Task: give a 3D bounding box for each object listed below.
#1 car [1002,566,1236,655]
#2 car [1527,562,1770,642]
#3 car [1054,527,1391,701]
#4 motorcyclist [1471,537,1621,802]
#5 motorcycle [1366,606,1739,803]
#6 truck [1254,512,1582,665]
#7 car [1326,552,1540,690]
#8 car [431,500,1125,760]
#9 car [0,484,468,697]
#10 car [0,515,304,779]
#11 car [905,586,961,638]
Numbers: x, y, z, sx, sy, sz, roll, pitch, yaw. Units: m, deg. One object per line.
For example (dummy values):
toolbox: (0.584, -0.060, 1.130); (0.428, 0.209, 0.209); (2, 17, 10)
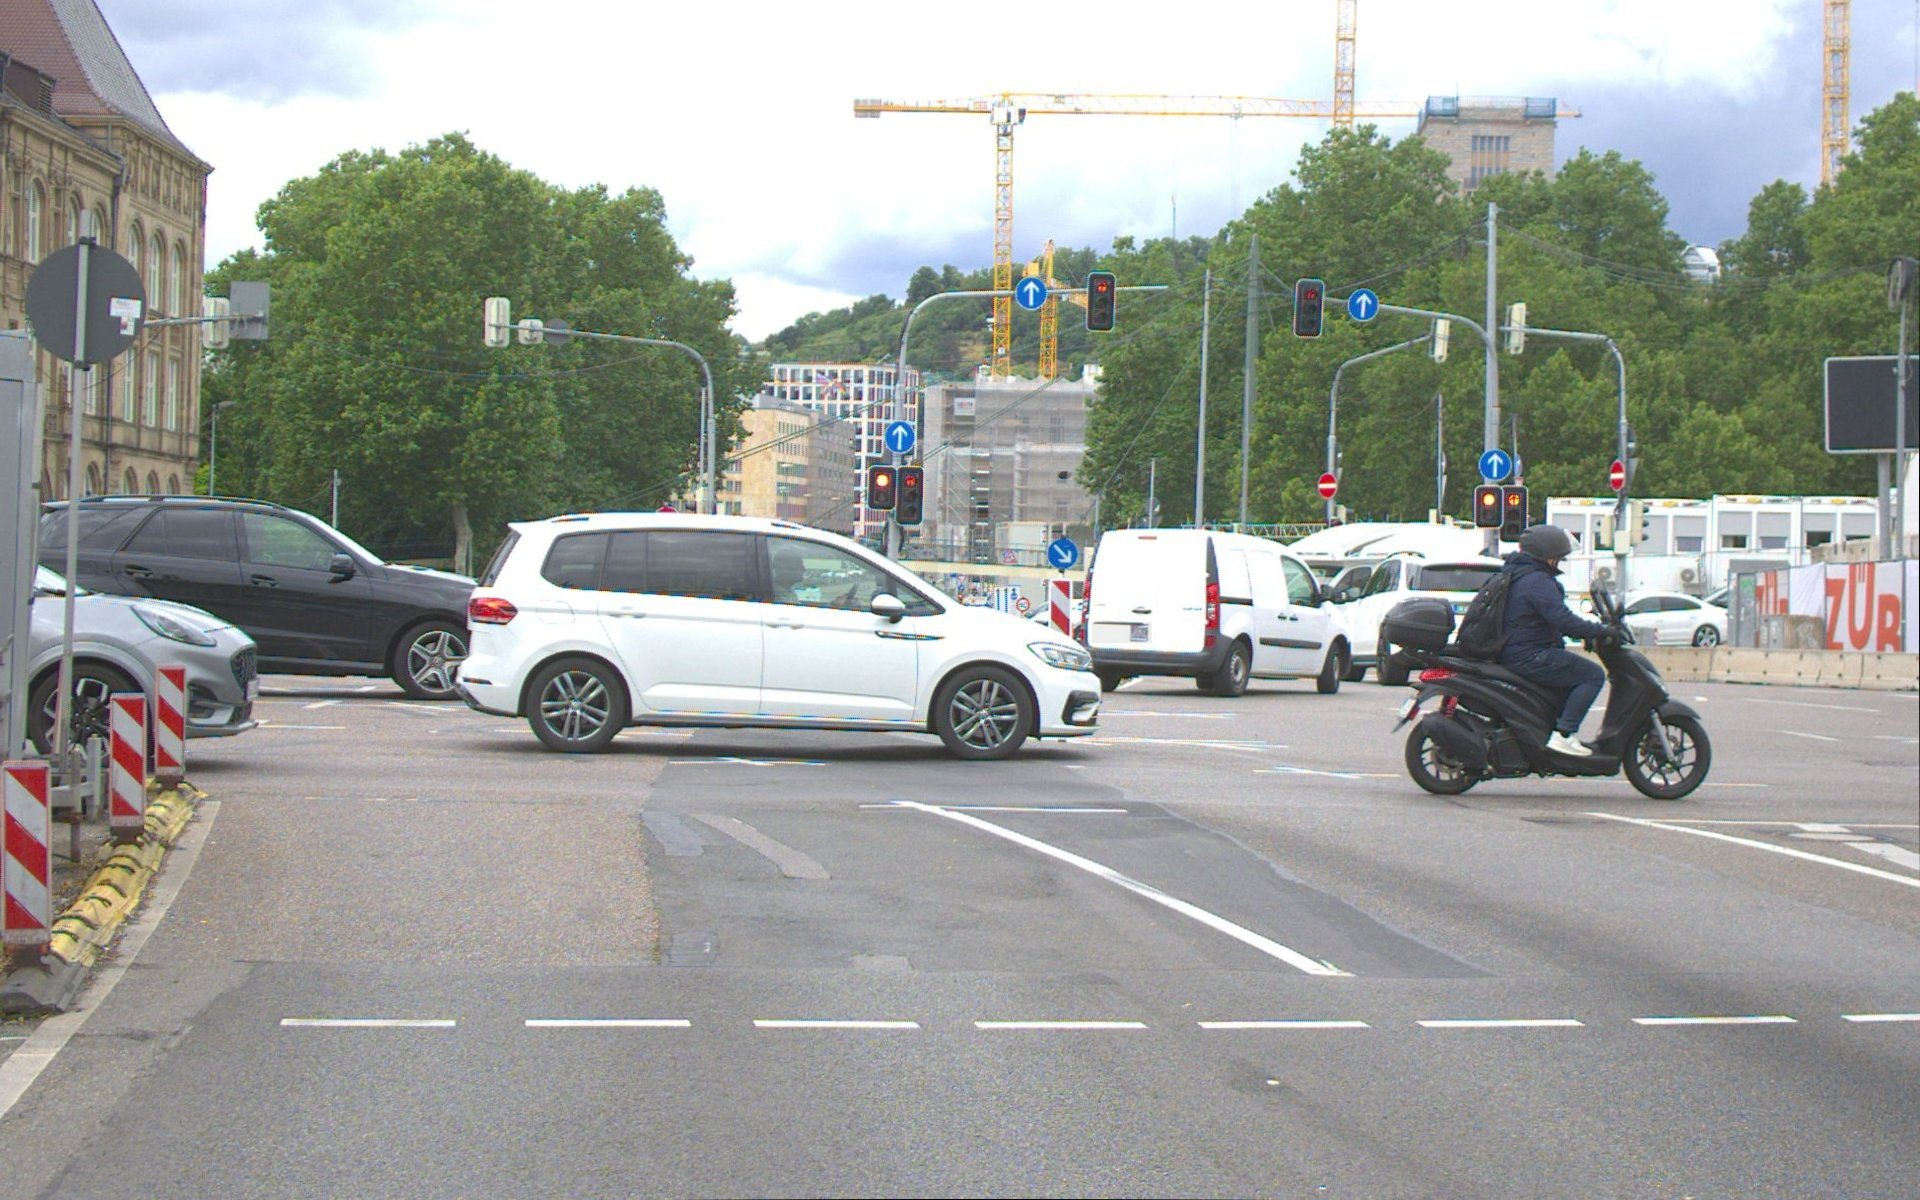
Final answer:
car: (3.402, 0.221, 73.612); (4.564, 1.768, 2.001); (1, 1, -25)
car: (15.927, 0.038, 79.511); (5.168, 1.779, 2.165); (1, 1, -23)
car: (3.049, 0.134, 38.918); (1.867, 1.827, 4.714); (1, 1, 31)
motorcyclist: (3.597, 0.418, 21.146); (0.786, 1.591, 0.652); (1, 0, 0)
motorcycle: (3.626, 0.634, 21.148); (2.167, 1.151, 0.652); (1, 0, 0)
truck: (9.745, -0.230, 73.080); (6.580, 3.135, 2.368); (1, 0, -23)
car: (6.333, 0.247, 46.508); (1.993, 1.753, 4.506); (1, 1, -4)
car: (-1.264, 0.197, 24.271); (4.670, 1.696, 2.000); (1, 0, -2)
car: (-6.695, -0.083, 31.168); (4.242, 1.828, 2.001); (1, 1, -13)
car: (-6.350, 0.249, 21.129); (4.294, 1.534, 2.000); (1, 1, -2)
car: (-0.990, 0.411, 126.105); (1.993, 1.831, 4.000); (1, 1, 0)
